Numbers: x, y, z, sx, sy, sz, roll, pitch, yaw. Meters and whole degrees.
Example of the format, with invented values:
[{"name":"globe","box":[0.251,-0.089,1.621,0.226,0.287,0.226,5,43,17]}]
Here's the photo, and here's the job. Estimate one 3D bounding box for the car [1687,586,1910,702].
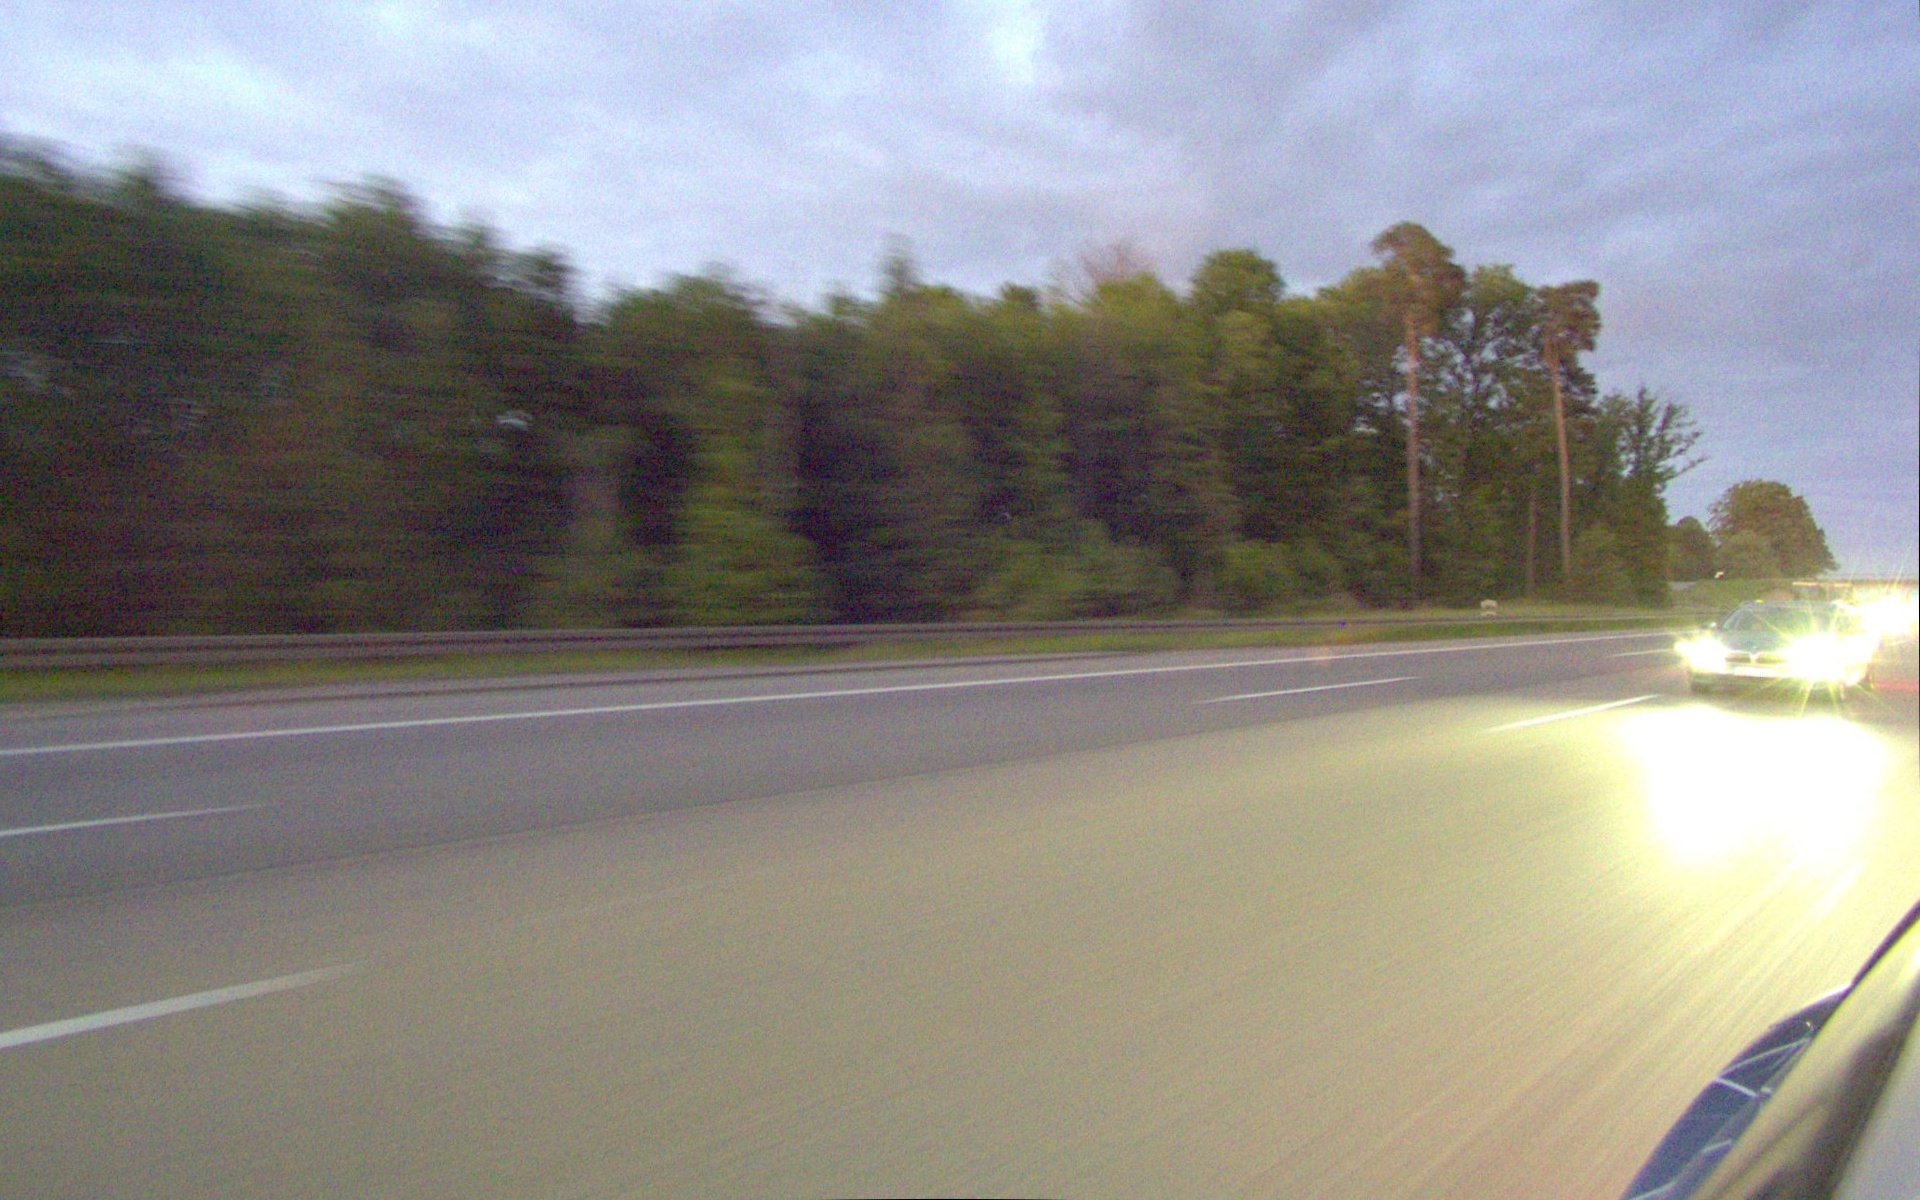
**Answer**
[{"name":"car","box":[13.785,0.581,16.513,5.139,1.556,1.913,-1,2,-40]}]
